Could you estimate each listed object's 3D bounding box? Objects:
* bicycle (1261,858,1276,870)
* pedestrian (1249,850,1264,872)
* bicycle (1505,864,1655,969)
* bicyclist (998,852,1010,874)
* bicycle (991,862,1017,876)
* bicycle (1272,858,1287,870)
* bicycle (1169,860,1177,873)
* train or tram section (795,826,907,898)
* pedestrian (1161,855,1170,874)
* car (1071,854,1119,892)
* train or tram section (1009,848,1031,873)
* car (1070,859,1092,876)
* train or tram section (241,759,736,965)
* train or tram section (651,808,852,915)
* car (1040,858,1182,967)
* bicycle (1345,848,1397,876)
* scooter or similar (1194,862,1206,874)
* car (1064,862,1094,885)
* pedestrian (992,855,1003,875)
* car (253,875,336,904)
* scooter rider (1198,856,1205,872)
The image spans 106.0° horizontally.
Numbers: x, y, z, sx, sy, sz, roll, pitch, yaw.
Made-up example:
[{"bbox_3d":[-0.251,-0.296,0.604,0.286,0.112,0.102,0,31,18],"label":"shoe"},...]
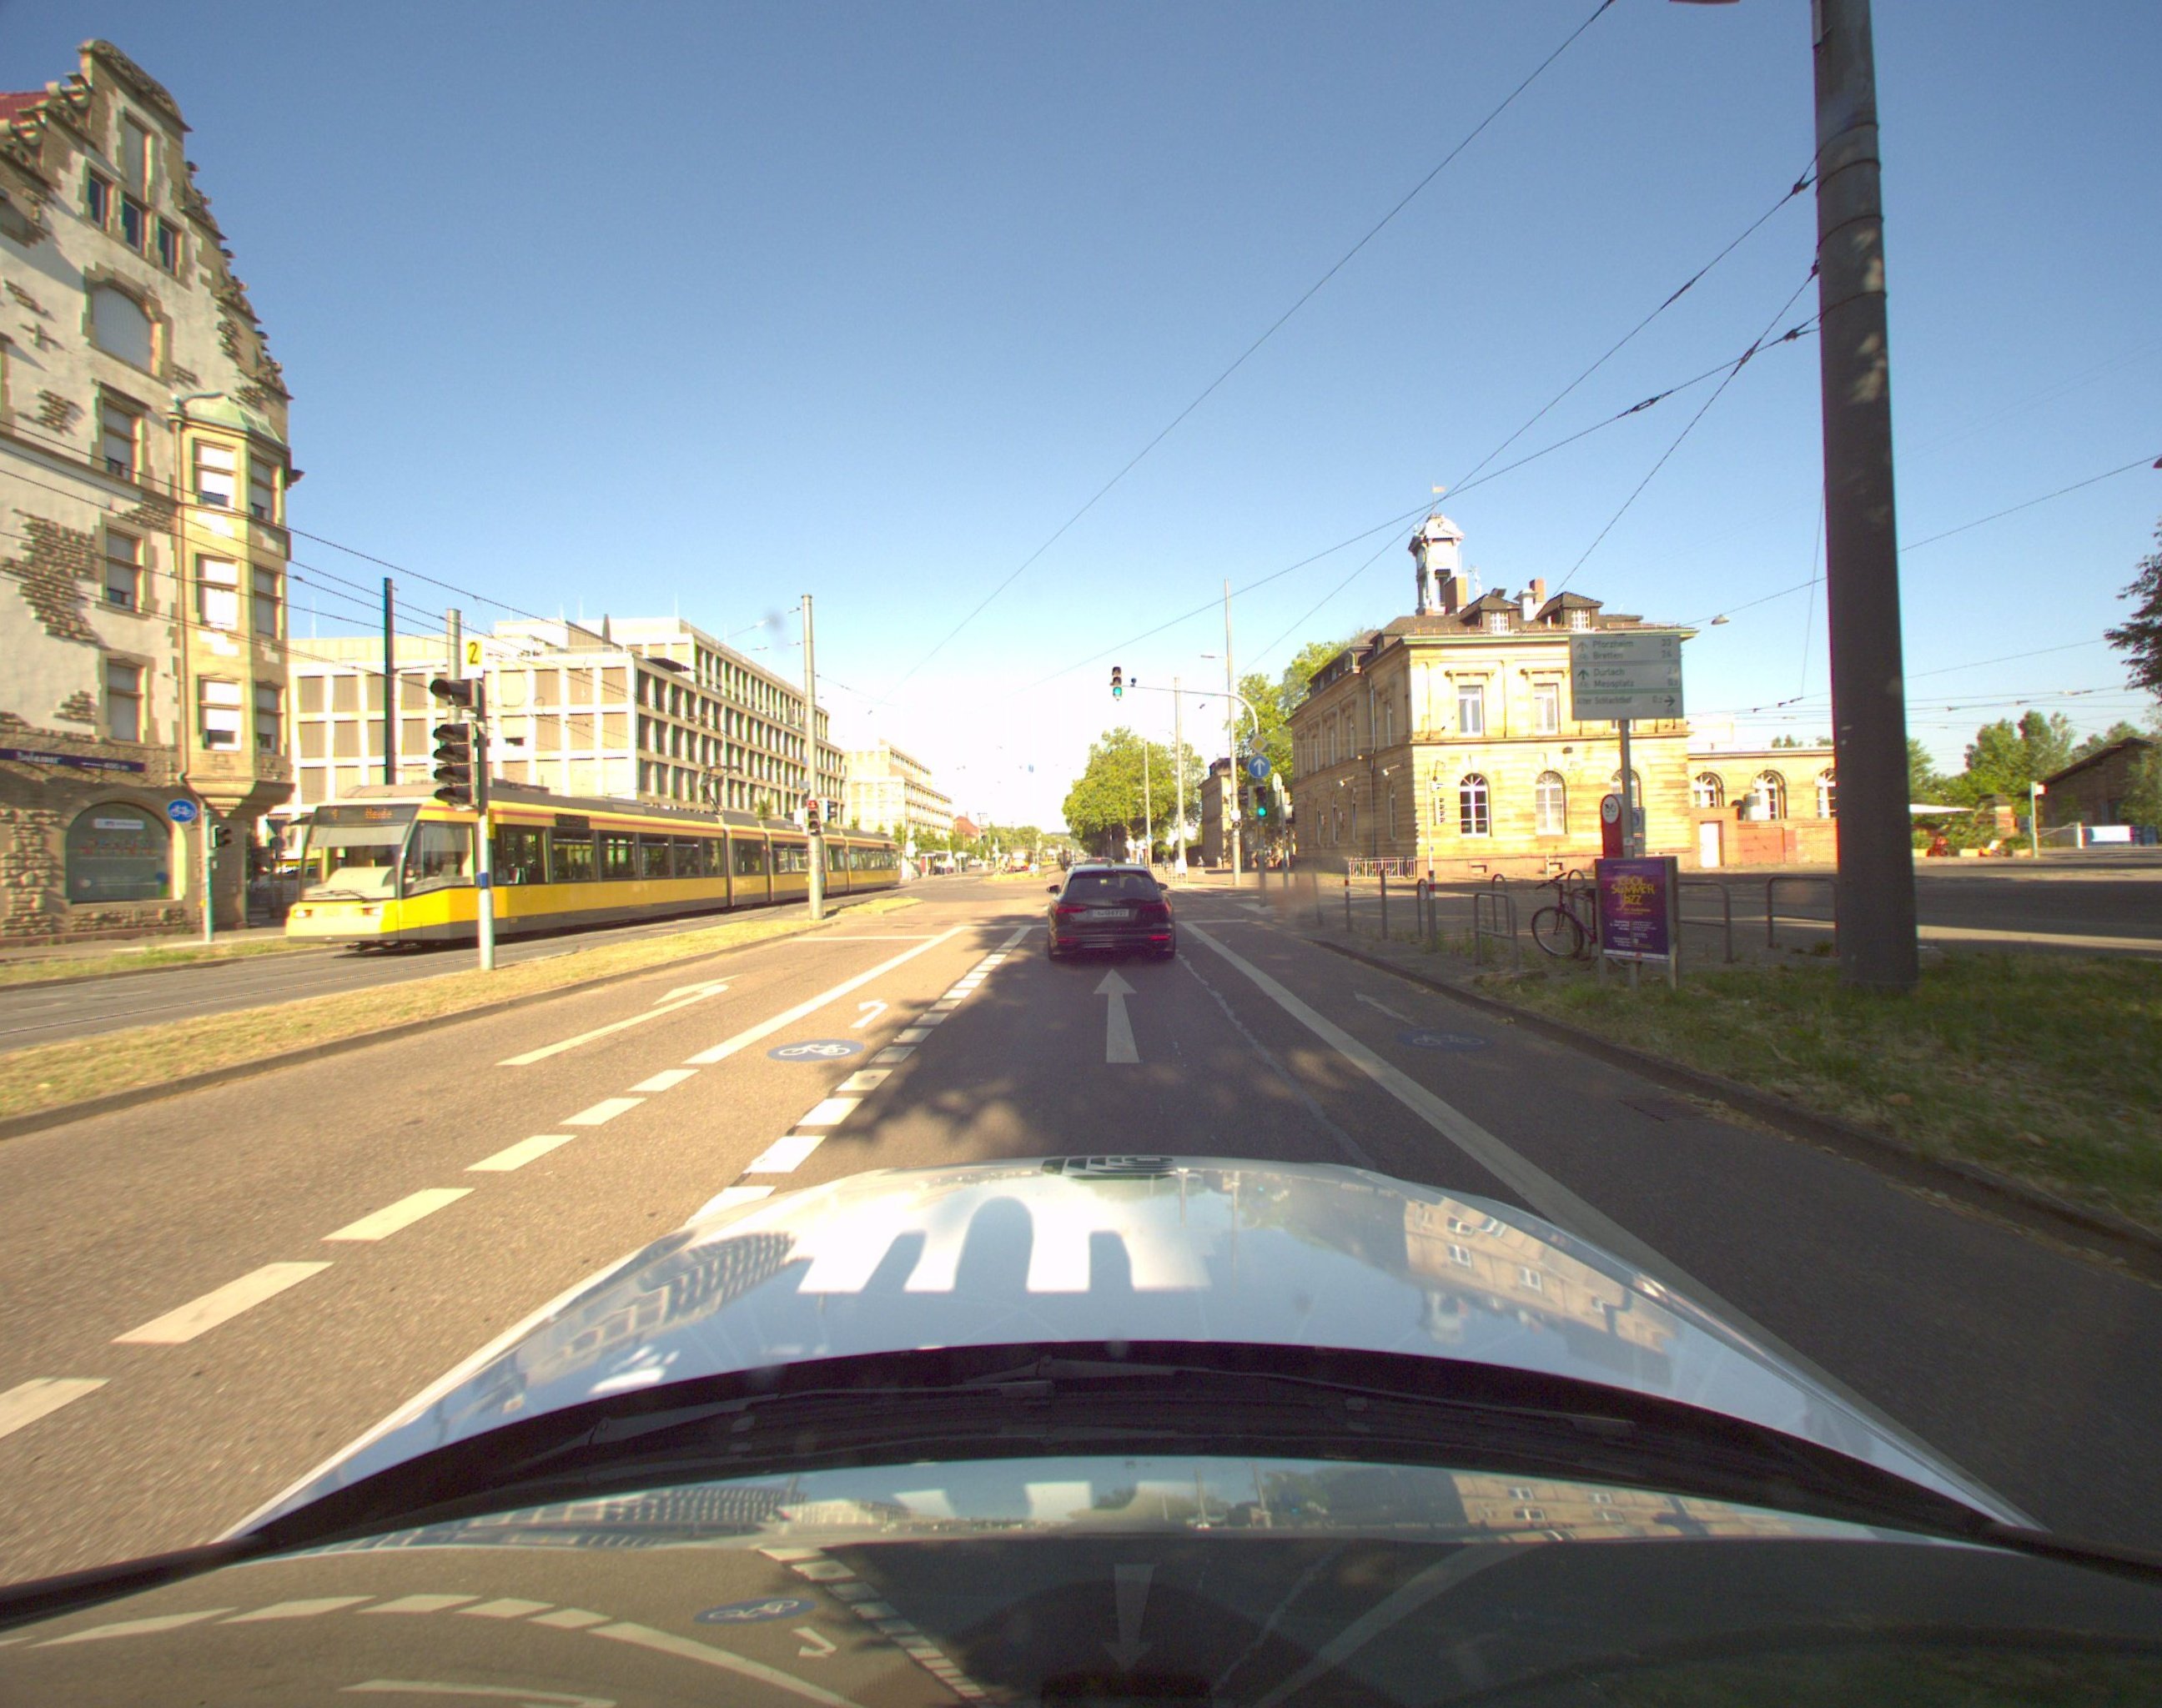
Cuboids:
[{"bbox_3d":[17.736,0.953,77.170,0.525,1.047,2.353,-2,0,-8],"label":"bicycle"},{"bbox_3d":[14.717,0.581,68.338,0.978,1.865,0.825,-2,-1,-6],"label":"pedestrian"},{"bbox_3d":[5.689,0.663,9.414,0.539,1.061,1.769,-2,0,-3],"label":"bicycle"},{"bbox_3d":[-6.475,0.755,68.743,0.760,1.819,0.759,-2,-1,-23],"label":"bicyclist"},{"bbox_3d":[-6.522,1.240,68.676,2.014,1.108,0.759,-2,0,-23],"label":"bicycle"},{"bbox_3d":[18.798,0.942,77.152,0.525,1.047,2.353,-2,0,-8],"label":"bicycle"},{"bbox_3d":[8.129,1.110,72.075,0.433,1.145,1.339,-2,0,-1],"label":"bicycle"},{"bbox_3d":[-12.782,0.422,46.742,2.803,3.489,12.153,-2,0,1],"label":"train or tram section"},{"bbox_3d":[7.499,0.894,72.051,0.680,1.660,0.758,-2,-1,-2],"label":"pedestrian"},{"bbox_3d":[0.599,0.776,34.873,1.896,1.486,4.145,-1,0,1],"label":"car"},{"bbox_3d":[-8.982,0.903,121.333,2.601,3.451,11.125,-2,0,-1],"label":"train or tram section"},{"bbox_3d":[0.029,1.233,77.097,1.896,1.486,4.145,-1,0,1],"label":"car"},{"bbox_3d":[-13.124,0.181,20.794,2.803,3.489,13.203,-2,0,1],"label":"train or tram section"},{"bbox_3d":[-12.966,0.305,34.027,2.803,3.489,13.203,-2,0,1],"label":"train or tram section"},{"bbox_3d":[0.445,0.806,13.144,1.896,1.421,4.145,-1,0,1],"label":"car"},{"bbox_3d":[13.674,0.381,38.481,2.131,1.209,0.765,-3,-1,-2],"label":"bicycle"},{"bbox_3d":[10.480,1.204,71.482,0.936,0.966,0.361,-3,-2,-2],"label":"scooter or similar"},{"bbox_3d":[-0.095,1.318,55.874,1.896,1.486,4.145,-1,0,1],"label":"car"},{"bbox_3d":[-7.212,0.960,70.157,0.743,1.741,0.658,-2,-1,-24],"label":"pedestrian"},{"bbox_3d":[-57.551,2.563,59.663,4.049,1.913,1.912,-2,0,-3],"label":"car"},{"bbox_3d":[10.541,0.886,71.482,0.483,1.385,0.377,-3,-2,-2],"label":"scooter rider"}]
